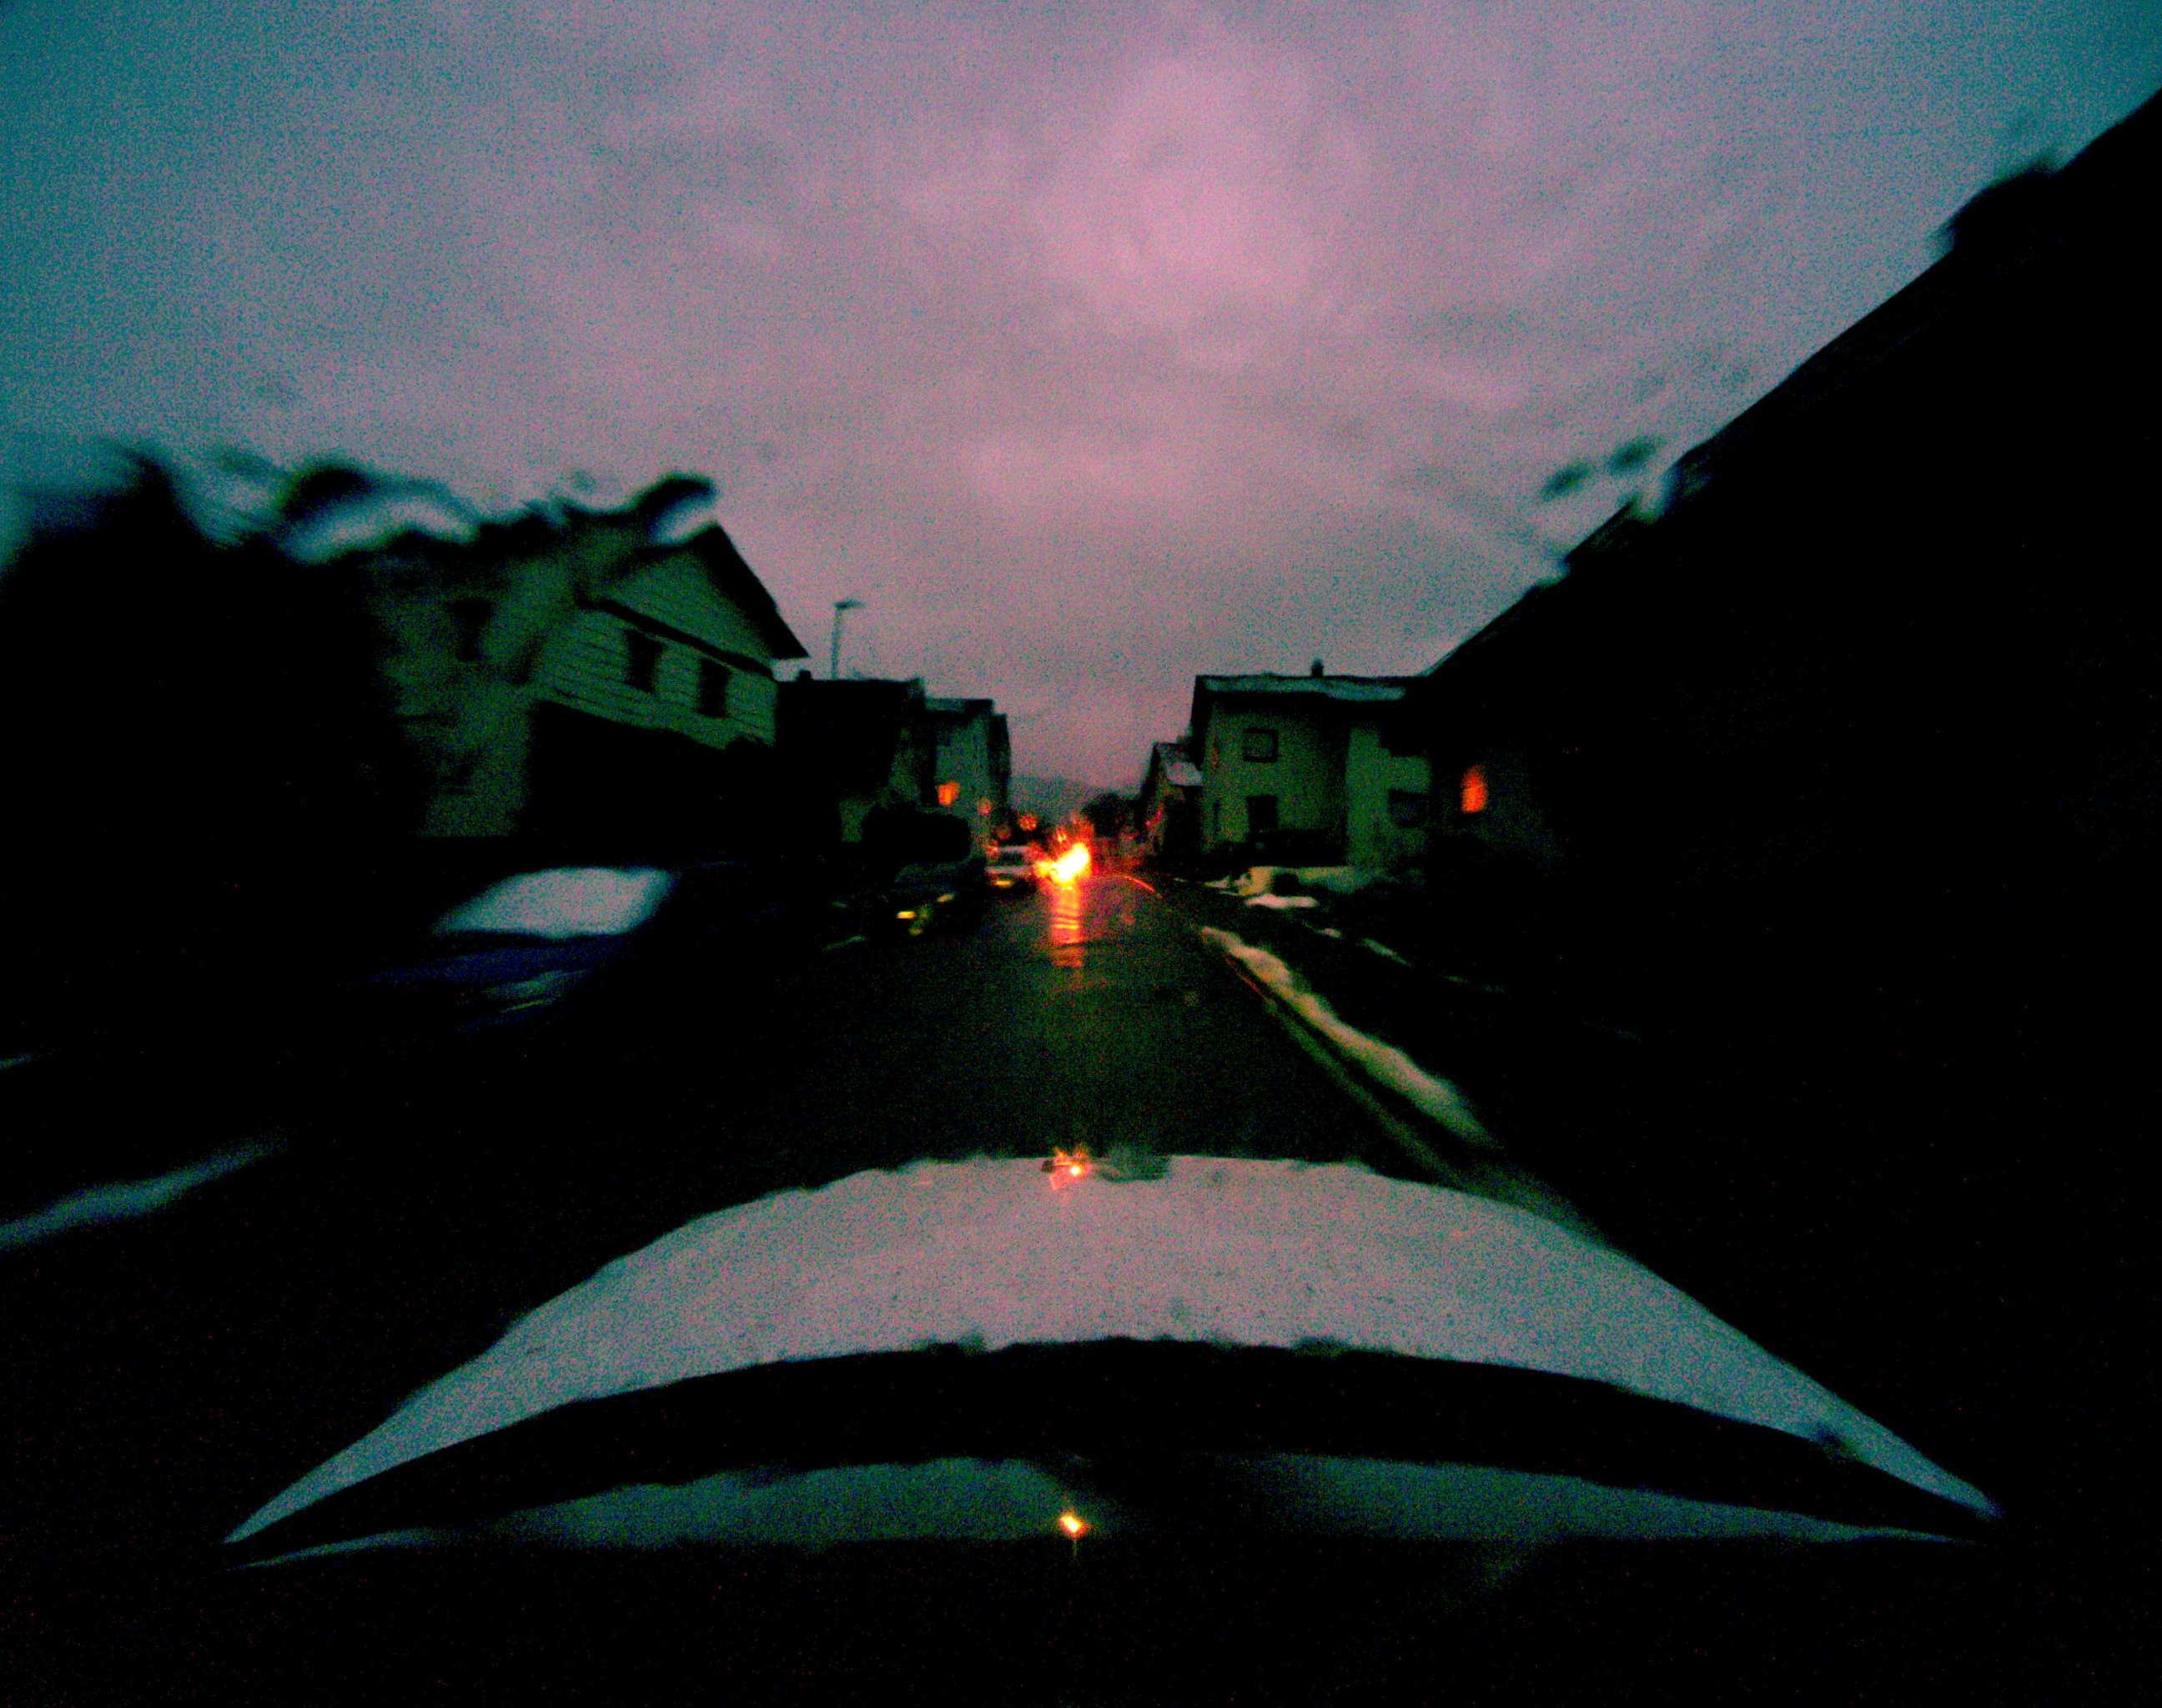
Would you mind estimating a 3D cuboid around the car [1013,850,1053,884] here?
[{"bbox_3d":[-2.646,0.702,45.918,1.987,1.800,3.999,-1,0,0],"label":"car"}]

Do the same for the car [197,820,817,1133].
[{"bbox_3d":[-3.625,0.662,6.267,1.677,1.584,4.177,-1,-1,2],"label":"car"}]

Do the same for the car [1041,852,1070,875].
[{"bbox_3d":[-1.959,0.778,64.225,1.986,1.650,4.001,-1,-2,2],"label":"car"}]

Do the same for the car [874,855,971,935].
[{"bbox_3d":[-3.370,0.807,18.000,1.793,1.503,4.298,-1,0,-7],"label":"car"}]

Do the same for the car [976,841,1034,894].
[{"bbox_3d":[-2.869,0.490,31.473,1.820,1.835,4.343,-1,0,-1],"label":"car"}]
